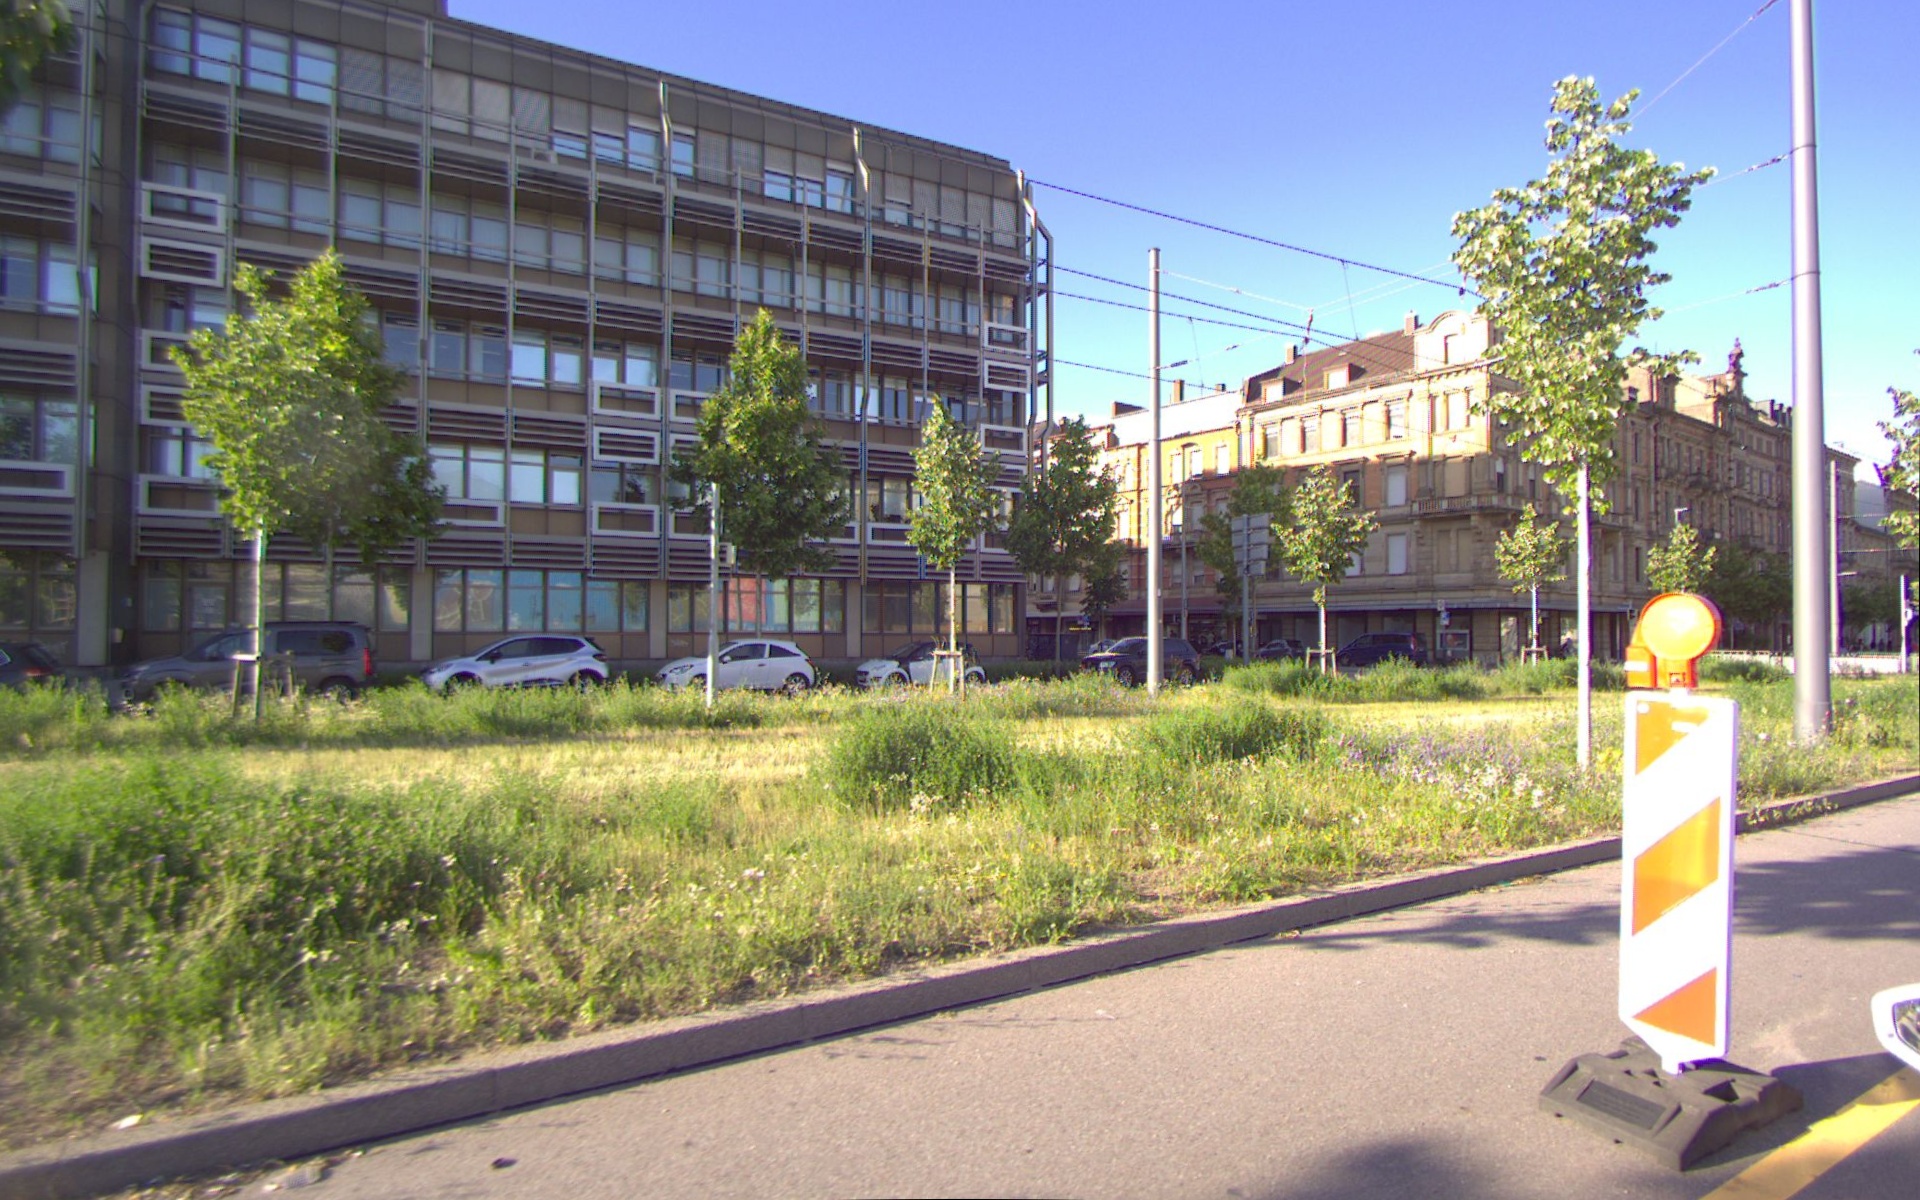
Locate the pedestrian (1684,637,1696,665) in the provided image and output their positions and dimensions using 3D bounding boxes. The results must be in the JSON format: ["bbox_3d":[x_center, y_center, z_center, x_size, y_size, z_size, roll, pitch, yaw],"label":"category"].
[{"bbox_3d":[47.835,3.334,65.842,0.402,1.788,0.504,2,0,-36],"label":"pedestrian"}]

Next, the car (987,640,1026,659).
[{"bbox_3d":[3.663,3.896,79.125,1.473,1.427,3.028,2,-3,-40],"label":"car"}]

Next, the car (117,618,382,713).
[{"bbox_3d":[-14.549,1.300,20.903,4.278,1.795,1.743,1,-1,-29],"label":"car"}]

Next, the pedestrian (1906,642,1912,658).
[{"bbox_3d":[98.491,5.222,104.251,0.432,1.606,0.456,2,0,-43],"label":"pedestrian"}]

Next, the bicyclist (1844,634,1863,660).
[{"bbox_3d":[57.899,3.063,65.088,0.873,1.679,0.690,2,-2,-35],"label":"bicyclist"}]

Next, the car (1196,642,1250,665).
[{"bbox_3d":[16.621,3.385,63.564,1.567,1.427,3.028,2,-3,-40],"label":"car"}]

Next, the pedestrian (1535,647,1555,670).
[{"bbox_3d":[32.945,3.277,56.570,0.920,1.263,0.685,2,-2,-35],"label":"pedestrian"}]

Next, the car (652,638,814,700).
[{"bbox_3d":[-5.835,1.729,25.915,3.772,1.460,1.618,1,-1,-29],"label":"car"}]

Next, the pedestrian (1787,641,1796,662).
[{"bbox_3d":[65.004,4.016,78.501,0.422,1.606,0.400,2,0,-36],"label":"pedestrian"}]

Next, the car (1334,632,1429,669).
[{"bbox_3d":[23.116,2.754,55.237,1.883,1.928,4.472,2,-3,-40],"label":"car"}]

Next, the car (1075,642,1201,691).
[{"bbox_3d":[5.908,2.162,33.296,3.850,1.481,1.724,1,0,-27],"label":"car"}]

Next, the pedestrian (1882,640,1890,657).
[{"bbox_3d":[86.380,4.516,93.679,0.431,1.553,0.402,2,0,-36],"label":"pedestrian"}]

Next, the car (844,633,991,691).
[{"bbox_3d":[-1.212,1.750,28.957,3.917,1.574,1.642,1,-2,-29],"label":"car"}]

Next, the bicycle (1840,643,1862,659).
[{"bbox_3d":[57.323,3.266,64.628,1.809,0.991,0.690,2,-2,-36],"label":"bicycle"}]

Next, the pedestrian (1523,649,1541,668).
[{"bbox_3d":[32.833,3.367,57.675,0.728,1.073,0.686,2,-2,-35],"label":"pedestrian"}]

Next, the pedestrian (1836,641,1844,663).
[{"bbox_3d":[74.474,4.414,85.005,0.402,1.788,0.364,2,0,-36],"label":"pedestrian"}]

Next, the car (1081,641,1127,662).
[{"bbox_3d":[10.164,3.653,71.119,1.473,1.427,3.028,2,-3,-40],"label":"car"}]

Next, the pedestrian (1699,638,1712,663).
[{"bbox_3d":[47.789,3.222,64.363,0.528,1.606,0.483,2,0,-36],"label":"pedestrian"}]

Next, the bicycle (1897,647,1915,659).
[{"bbox_3d":[70.215,3.913,74.542,2.011,0.869,0.633,2,-2,-35],"label":"bicycle"}]

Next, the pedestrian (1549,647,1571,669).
[{"bbox_3d":[34.384,3.327,57.590,0.920,1.224,0.786,2,-2,-35],"label":"pedestrian"}]

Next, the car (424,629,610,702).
[{"bbox_3d":[-10.302,1.463,23.391,3.836,1.556,1.730,1,-1,-29],"label":"car"}]

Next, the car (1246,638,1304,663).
[{"bbox_3d":[18.902,3.014,60.402,1.373,1.487,3.118,2,-3,-40],"label":"car"}]

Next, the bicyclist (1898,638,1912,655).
[{"bbox_3d":[70.003,3.462,74.400,0.731,1.256,0.633,2,-2,-35],"label":"bicyclist"}]

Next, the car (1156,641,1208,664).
[{"bbox_3d":[14.564,3.441,66.062,1.567,1.427,3.028,2,-3,-40],"label":"car"}]

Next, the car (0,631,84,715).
[{"bbox_3d":[-19.117,1.321,18.300,4.451,1.488,1.721,1,-1,-30],"label":"car"}]
